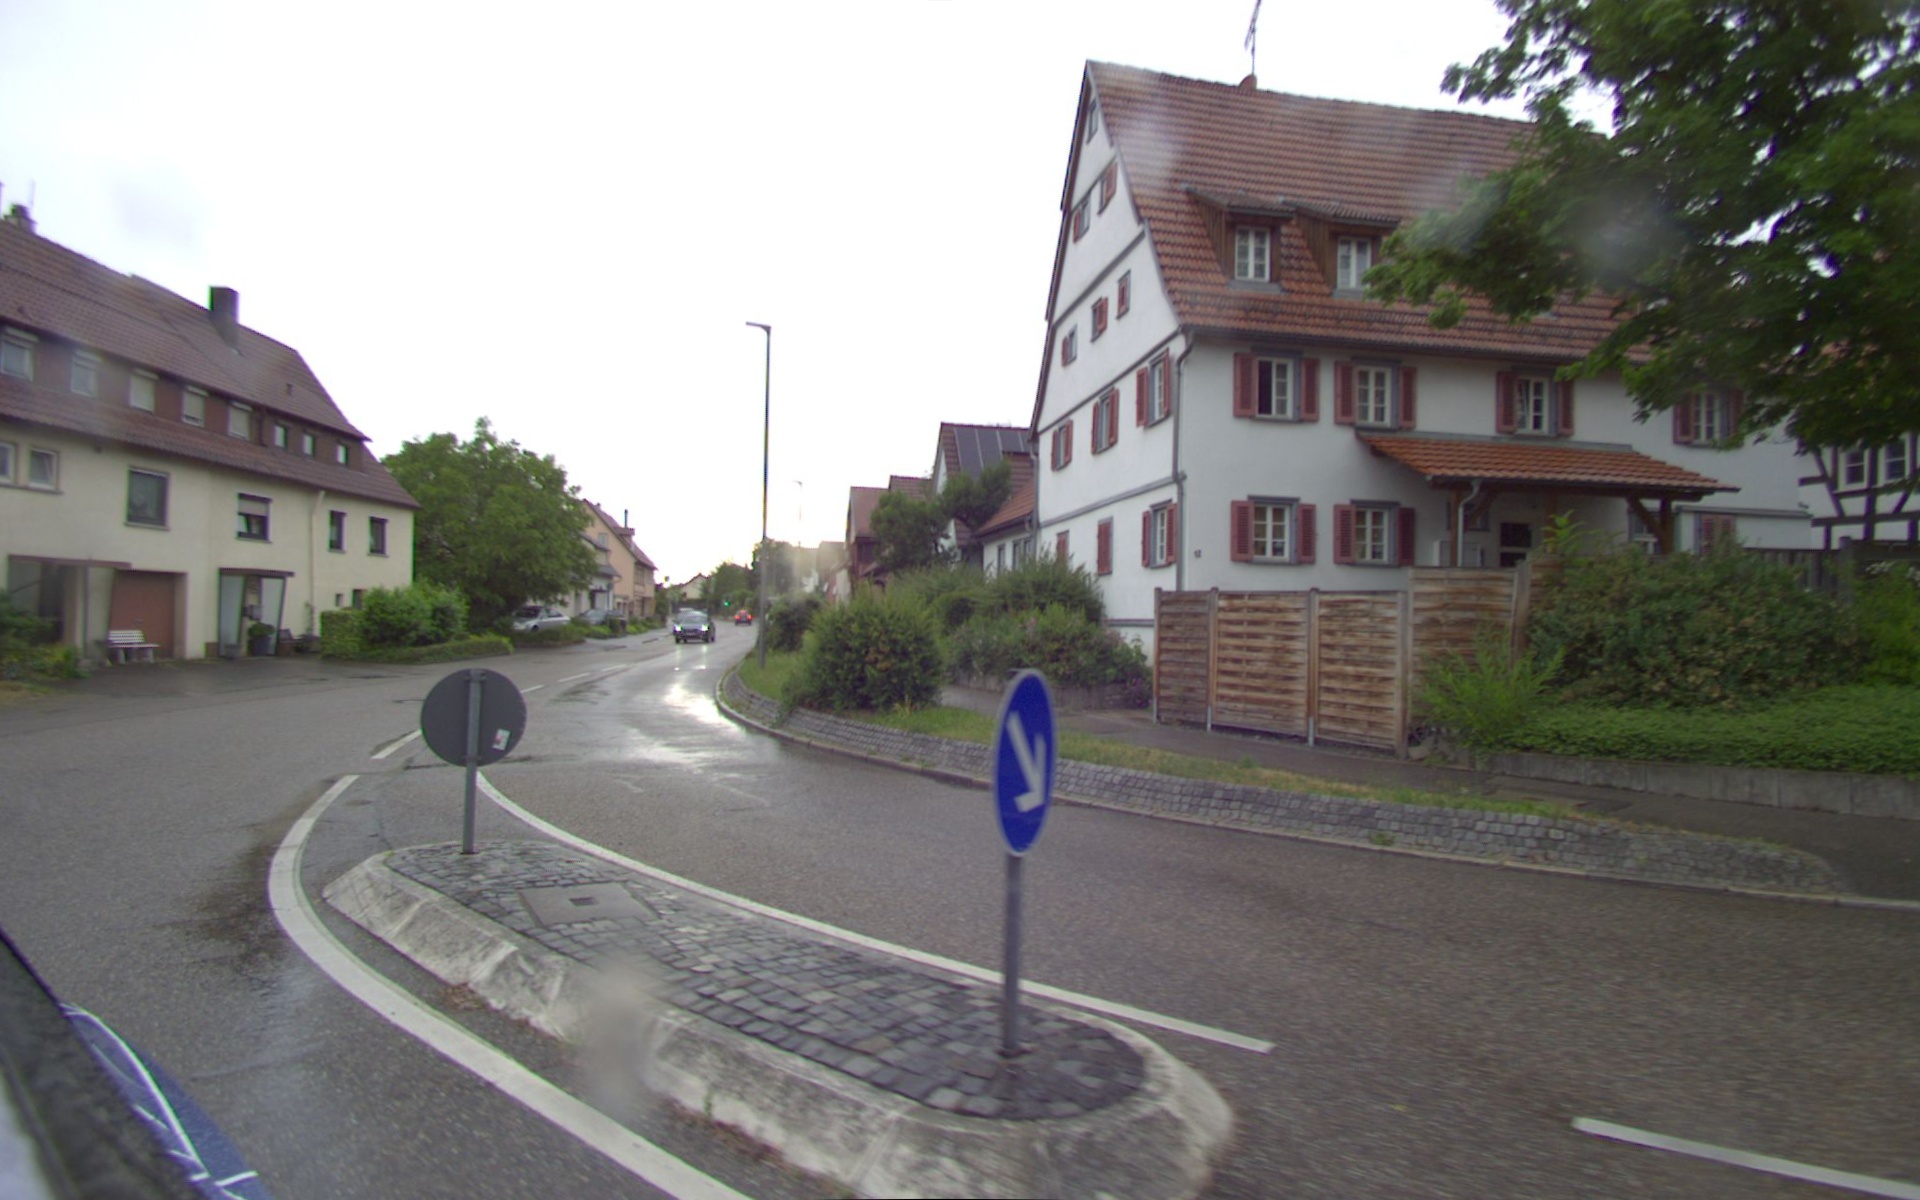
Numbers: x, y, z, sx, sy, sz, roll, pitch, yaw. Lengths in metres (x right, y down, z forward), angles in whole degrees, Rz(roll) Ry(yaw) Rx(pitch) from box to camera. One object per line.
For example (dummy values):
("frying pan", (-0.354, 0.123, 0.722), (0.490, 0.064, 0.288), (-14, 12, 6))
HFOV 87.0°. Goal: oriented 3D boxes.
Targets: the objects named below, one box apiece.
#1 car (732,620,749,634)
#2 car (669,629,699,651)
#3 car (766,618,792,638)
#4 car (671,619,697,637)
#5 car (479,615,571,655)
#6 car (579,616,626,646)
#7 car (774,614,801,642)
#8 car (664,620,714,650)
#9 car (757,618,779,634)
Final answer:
("car", (-24.868, 3.044, 114.904), (1.783, 1.586, 4.009), (1, -1, -11))
("car", (-19.828, 2.845, 72.834), (1.760, 1.475, 4.009), (1, -1, -11))
("car", (-15.756, 2.424, 88.006), (1.782, 1.634, 4.012), (1, -1, -16))
("car", (-24.255, 2.472, 89.189), (1.967, 1.541, 4.009), (-1, -1, -12))
("car", (-19.539, 1.548, 45.643), (1.890, 1.724, 4.472), (1, -1, 5))
("car", (-20.759, 1.786, 58.939), (1.967, 1.666, 4.079), (1, -1, -11))
("car", (-12.616, 2.015, 73.893), (1.817, 1.938, 4.199), (-1, -1, -11))
("car", (-14.588, 1.882, 54.745), (1.969, 1.541, 4.005), (-1, -1, -5))
("car", (-19.417, 2.626, 102.281), (1.782, 1.634, 4.012), (1, -1, -16))
